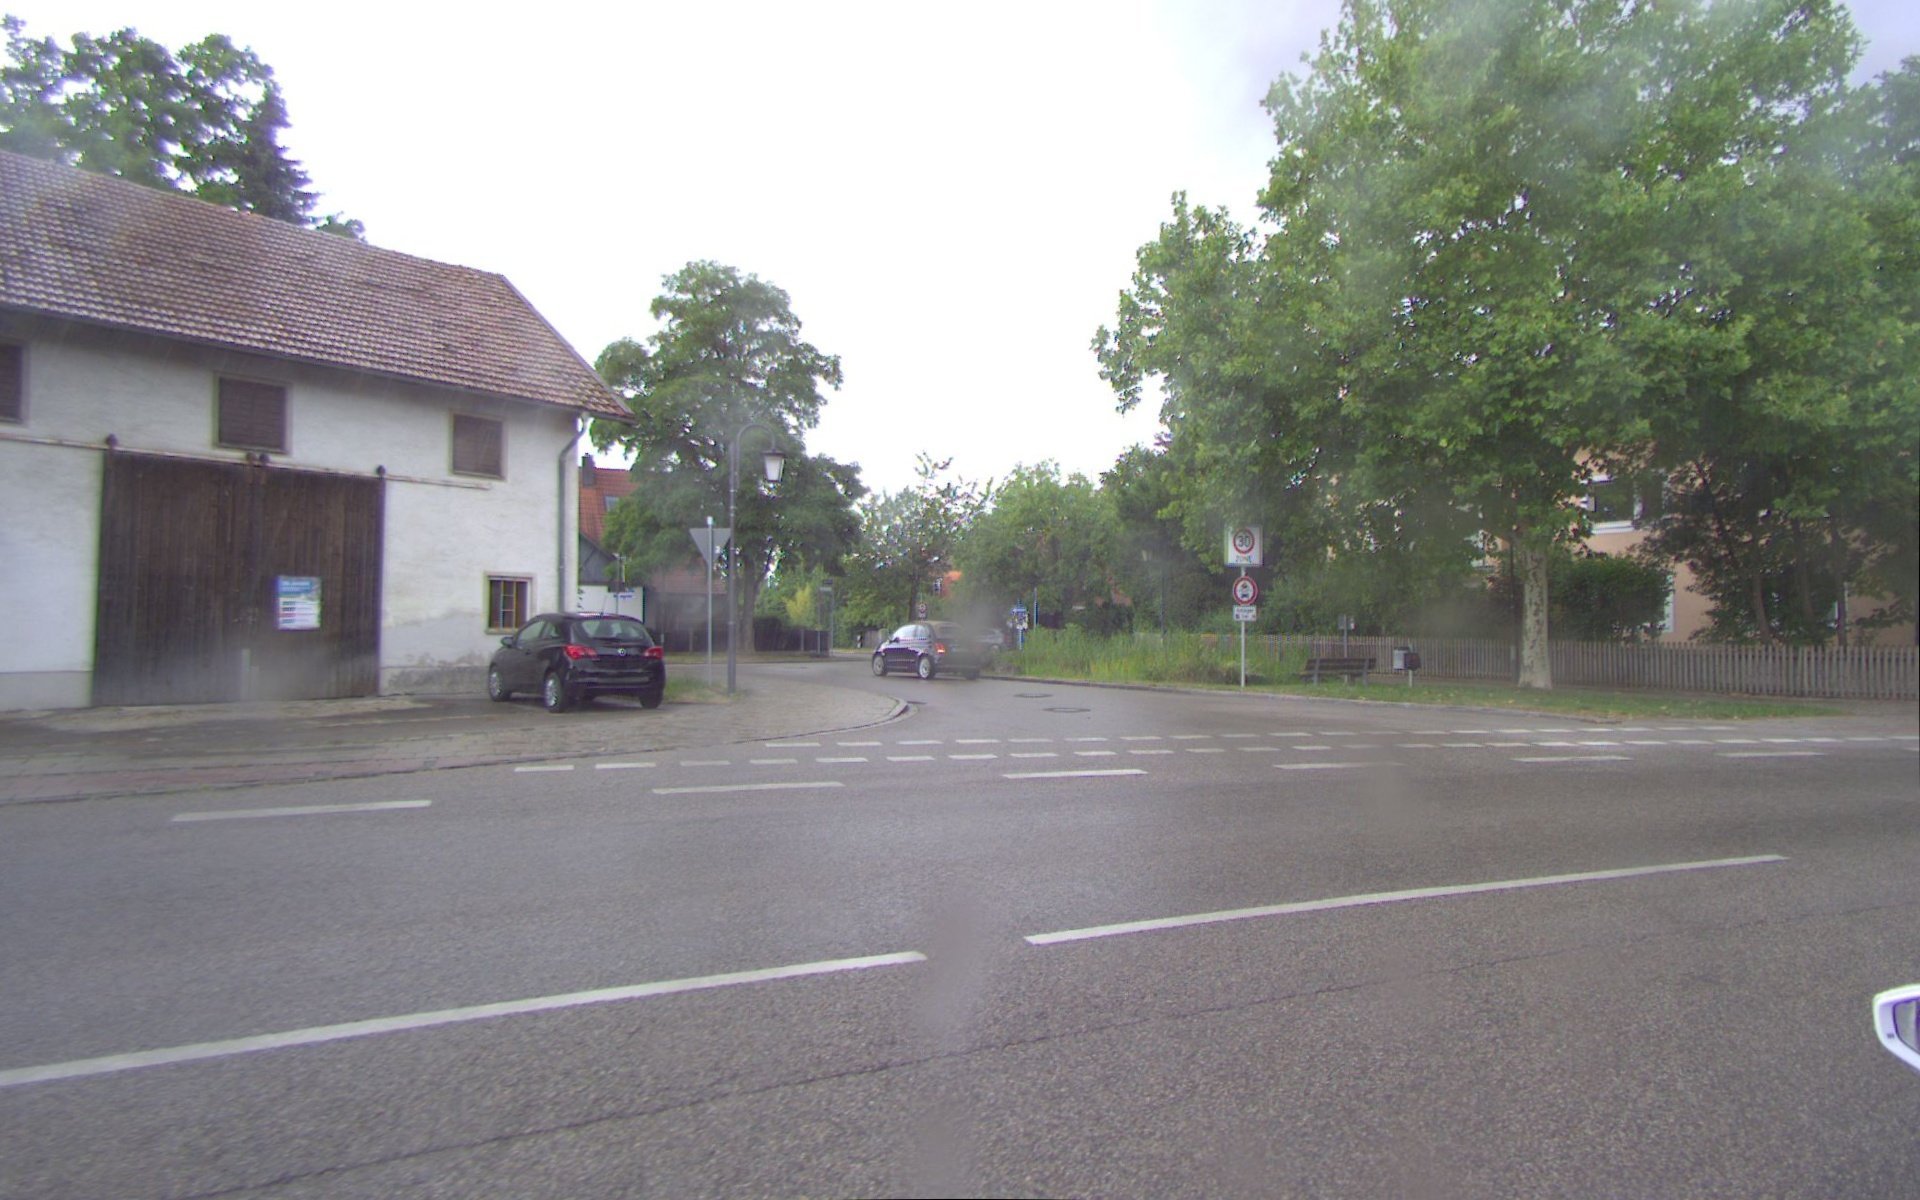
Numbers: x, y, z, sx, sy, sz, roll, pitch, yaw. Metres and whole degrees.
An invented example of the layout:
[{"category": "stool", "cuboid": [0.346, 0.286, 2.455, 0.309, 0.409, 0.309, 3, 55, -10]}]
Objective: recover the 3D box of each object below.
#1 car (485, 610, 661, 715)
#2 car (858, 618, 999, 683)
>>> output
[{"category": "car", "cuboid": [-6.344, 0.921, 16.178, 1.801, 1.455, 4.242, 2, -2, -33]}, {"category": "car", "cuboid": [-0.919, 1.285, 26.736, 1.860, 1.569, 4.243, 2, -2, -32]}]
